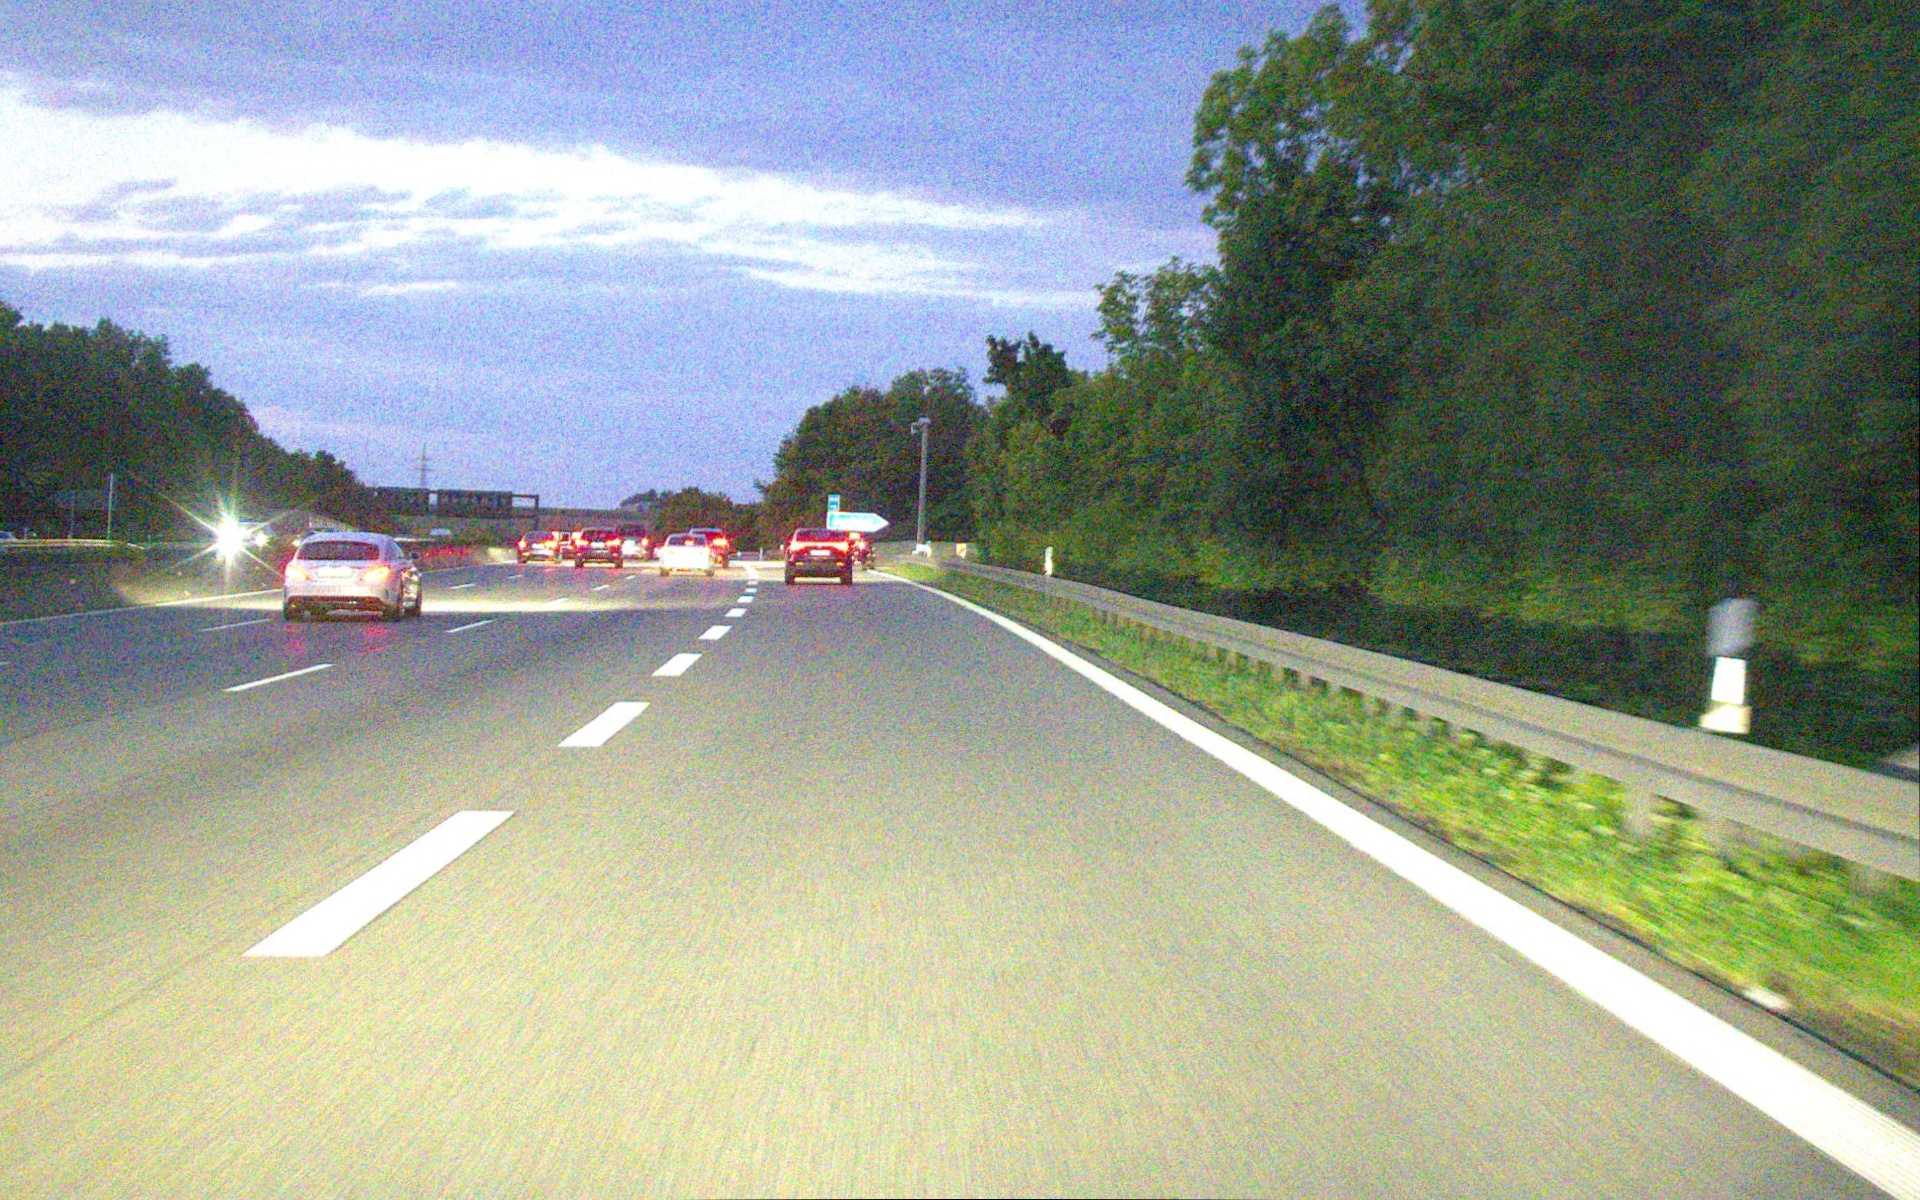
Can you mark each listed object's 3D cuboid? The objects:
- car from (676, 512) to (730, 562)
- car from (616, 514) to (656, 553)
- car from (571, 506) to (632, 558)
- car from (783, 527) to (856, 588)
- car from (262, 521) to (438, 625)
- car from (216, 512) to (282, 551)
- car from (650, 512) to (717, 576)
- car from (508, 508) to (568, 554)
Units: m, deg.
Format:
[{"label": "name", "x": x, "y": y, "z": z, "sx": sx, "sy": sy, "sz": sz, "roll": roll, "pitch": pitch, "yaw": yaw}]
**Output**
[{"label": "car", "x": -10.394, "y": -2.557, "z": 139.335, "sx": 1.993, "sy": 2.007, "sz": 4.001, "roll": 0, "pitch": 1, "yaw": -2}, {"label": "car", "x": -16.807, "y": -3.435, "z": 178.201, "sx": 1.993, "sy": 2.007, "sz": 4.001, "roll": 1, "pitch": 1, "yaw": -6}, {"label": "car", "x": -14.123, "y": -2.681, "z": 135.758, "sx": 2.071, "sy": 2.007, "sz": 4.000, "roll": 0, "pitch": 1, "yaw": -1}, {"label": "car", "x": -3.978, "y": -1.224, "z": 97.354, "sx": 1.993, "sy": 1.653, "sz": 4.315, "roll": 0, "pitch": 1, "yaw": -2}, {"label": "car", "x": -9.956, "y": -0.475, "z": 56.442, "sx": 1.993, "sy": 1.637, "sz": 4.555, "roll": 0, "pitch": 1, "yaw": 1}, {"label": "car", "x": -30.876, "y": -2.990, "z": 149.460, "sx": 1.993, "sy": 1.659, "sz": 5.011, "roll": 1, "pitch": 1, "yaw": -2}, {"label": "car", "x": -8.962, "y": -1.832, "z": 111.606, "sx": 1.993, "sy": 2.007, "sz": 4.001, "roll": 1, "pitch": 1, "yaw": -2}, {"label": "car", "x": -18.704, "y": -3.069, "z": 152.504, "sx": 2.104, "sy": 2.007, "sz": 4.000, "roll": 0, "pitch": 1, "yaw": 1}]
